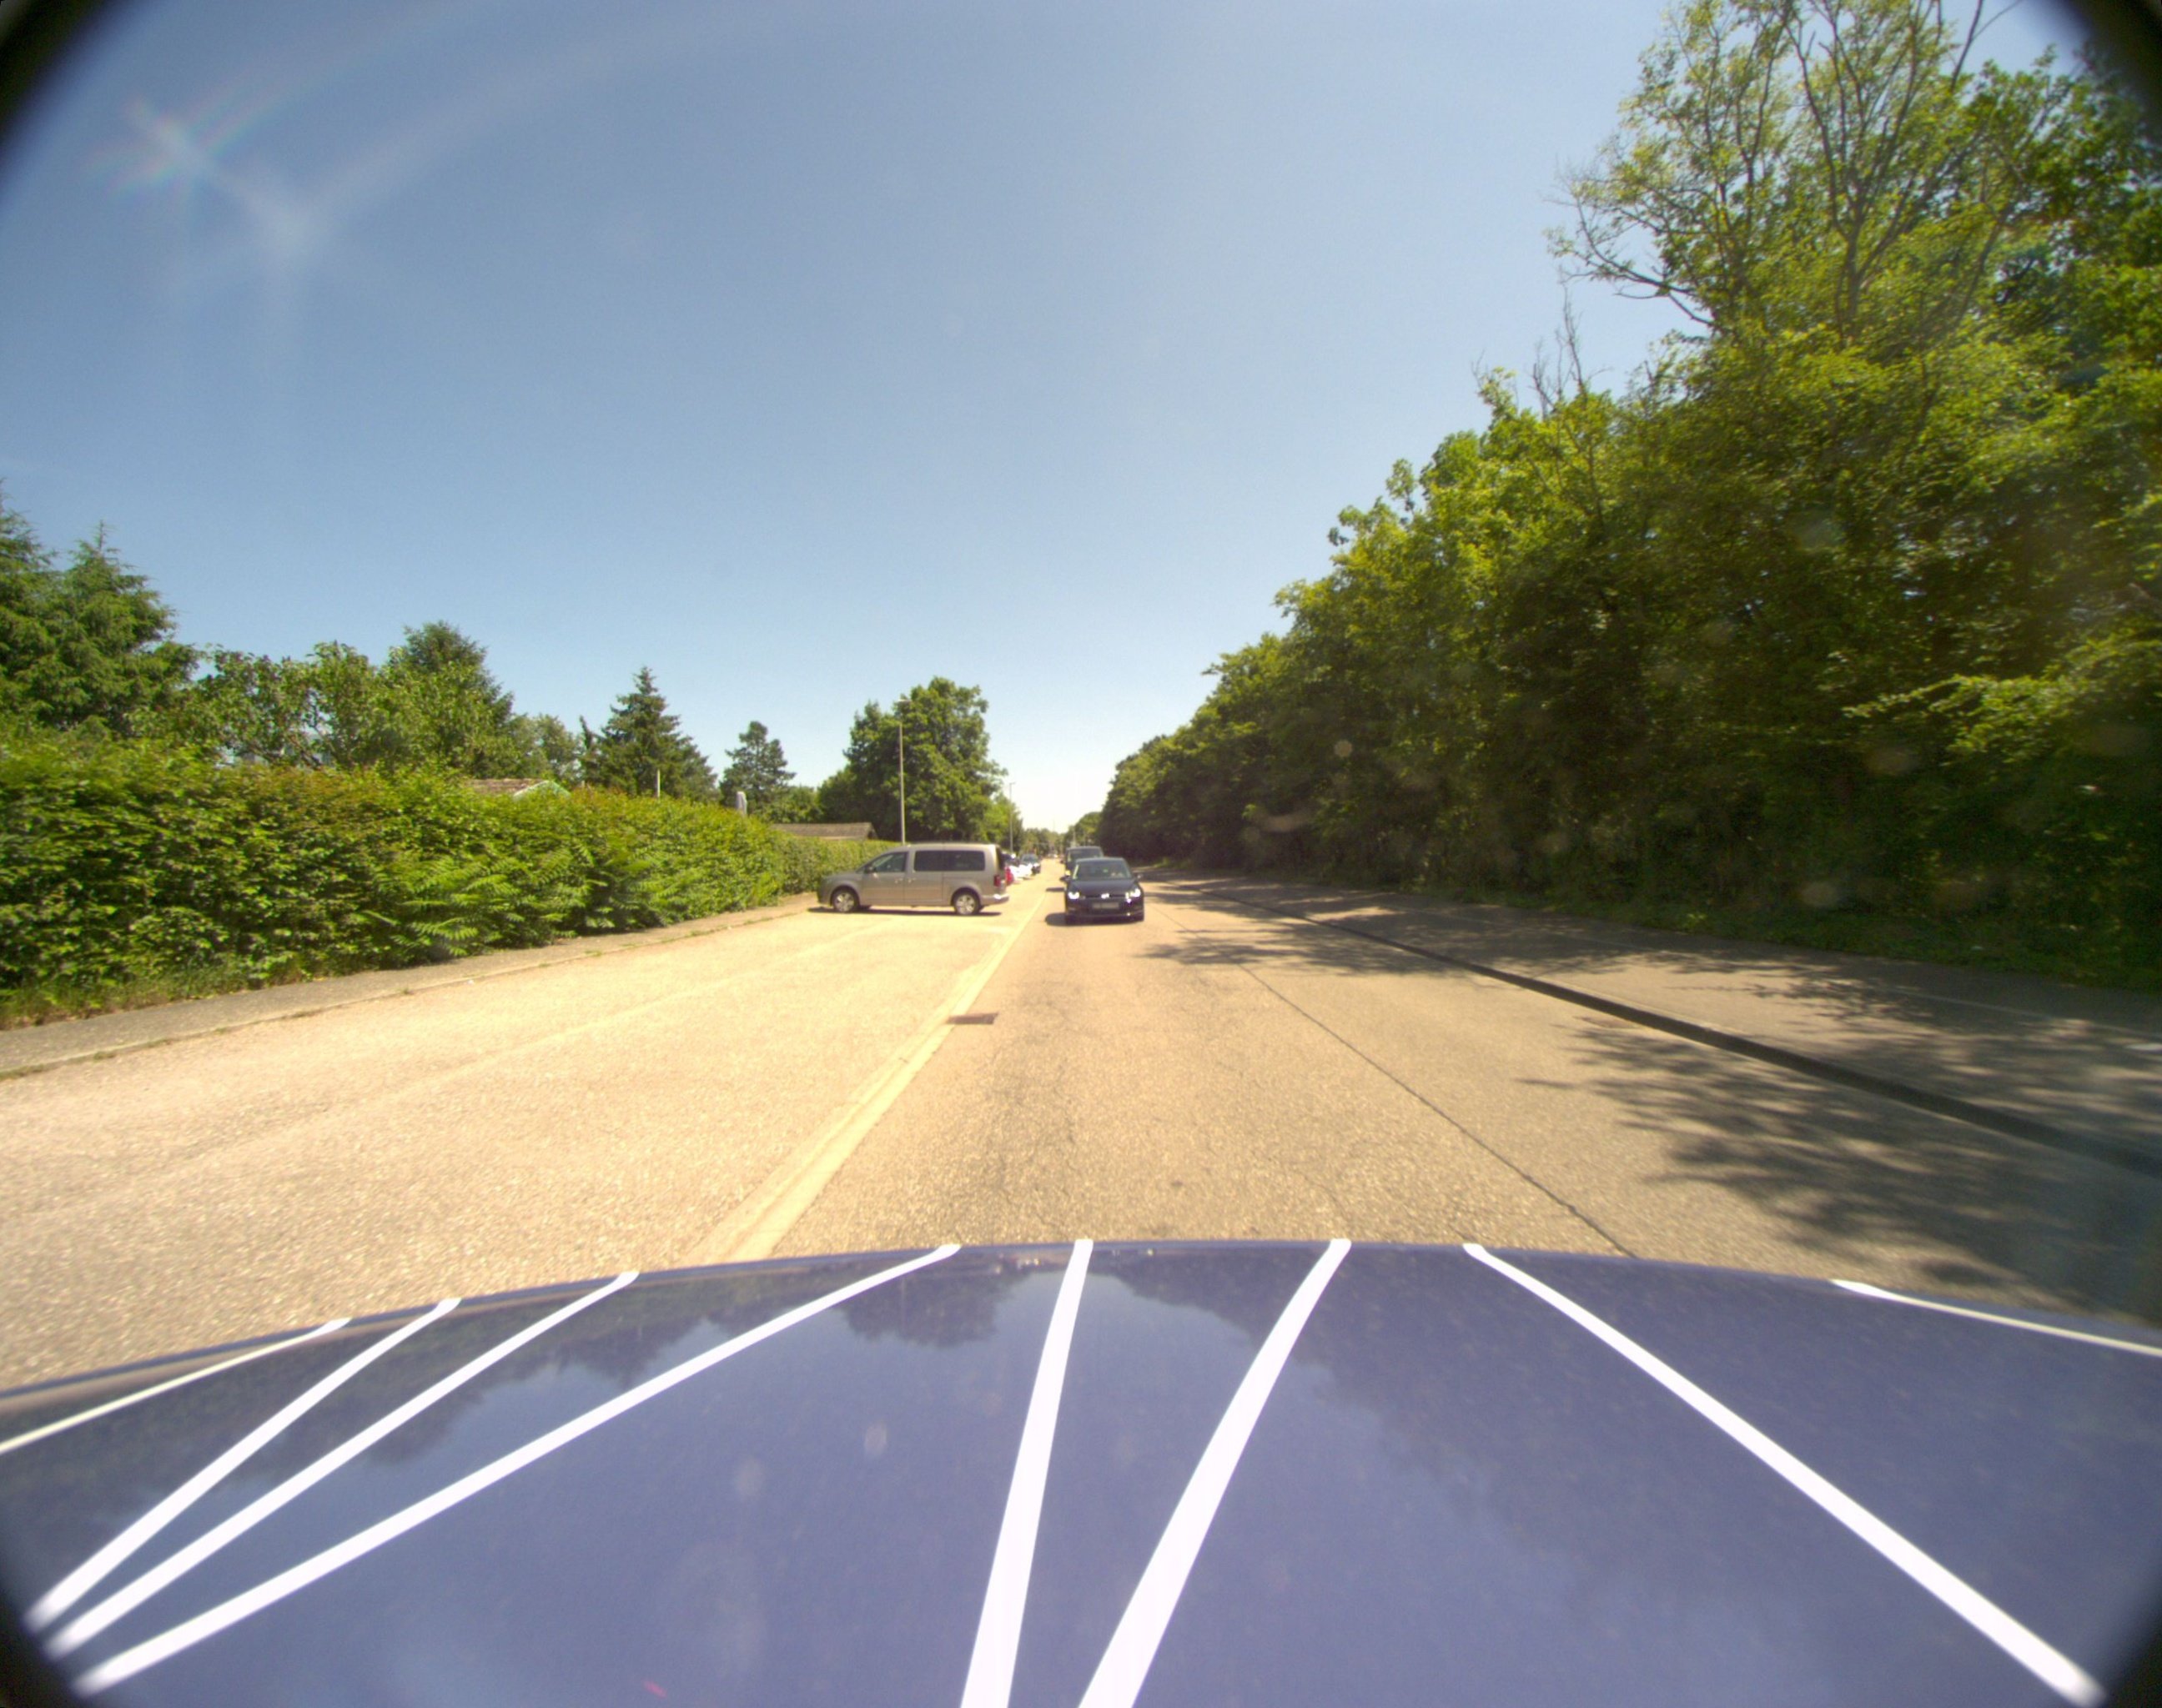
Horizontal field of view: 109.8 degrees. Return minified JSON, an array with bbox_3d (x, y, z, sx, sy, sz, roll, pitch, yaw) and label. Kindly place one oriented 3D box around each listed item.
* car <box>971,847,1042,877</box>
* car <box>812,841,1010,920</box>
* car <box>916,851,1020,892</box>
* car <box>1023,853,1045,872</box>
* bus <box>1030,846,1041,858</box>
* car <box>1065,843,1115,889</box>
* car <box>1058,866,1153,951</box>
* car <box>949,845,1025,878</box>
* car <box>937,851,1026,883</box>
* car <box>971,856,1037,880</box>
[{"bbox_3d":[-4.929,0.559,50.908,4.482,1.694,1.913,3,0,-2],"label":"car"},{"bbox_3d":[-4.291,0.651,19.741,4.632,1.837,1.996,1,0,0],"label":"car"},{"bbox_3d":[-4.608,0.716,31.412,3.929,1.470,1.845,3,0,-1],"label":"car"},{"bbox_3d":[-4.067,0.736,65.741,1.794,1.473,4.663,3,0,-4],"label":"car"},{"bbox_3d":[-13.183,-0.536,221.180,2.931,3.248,8.328,-1,0,-1],"label":"bus"},{"bbox_3d":[0.333,0.525,34.796,2.002,1.965,4.449,-1,0,-3],"label":"car"},{"bbox_3d":[0.533,1.151,17.753,1.887,1.667,4.663,-2,-1,1],"label":"car"},{"bbox_3d":[-5.598,0.454,45.687,4.268,1.688,1.853,3,0,0],"label":"car"},{"bbox_3d":[-5.268,0.678,40.706,4.571,1.430,1.960,3,0,-5],"label":"car"},{"bbox_3d":[-4.830,0.855,48.123,4.007,1.444,1.831,0,0,-2],"label":"car"}]
